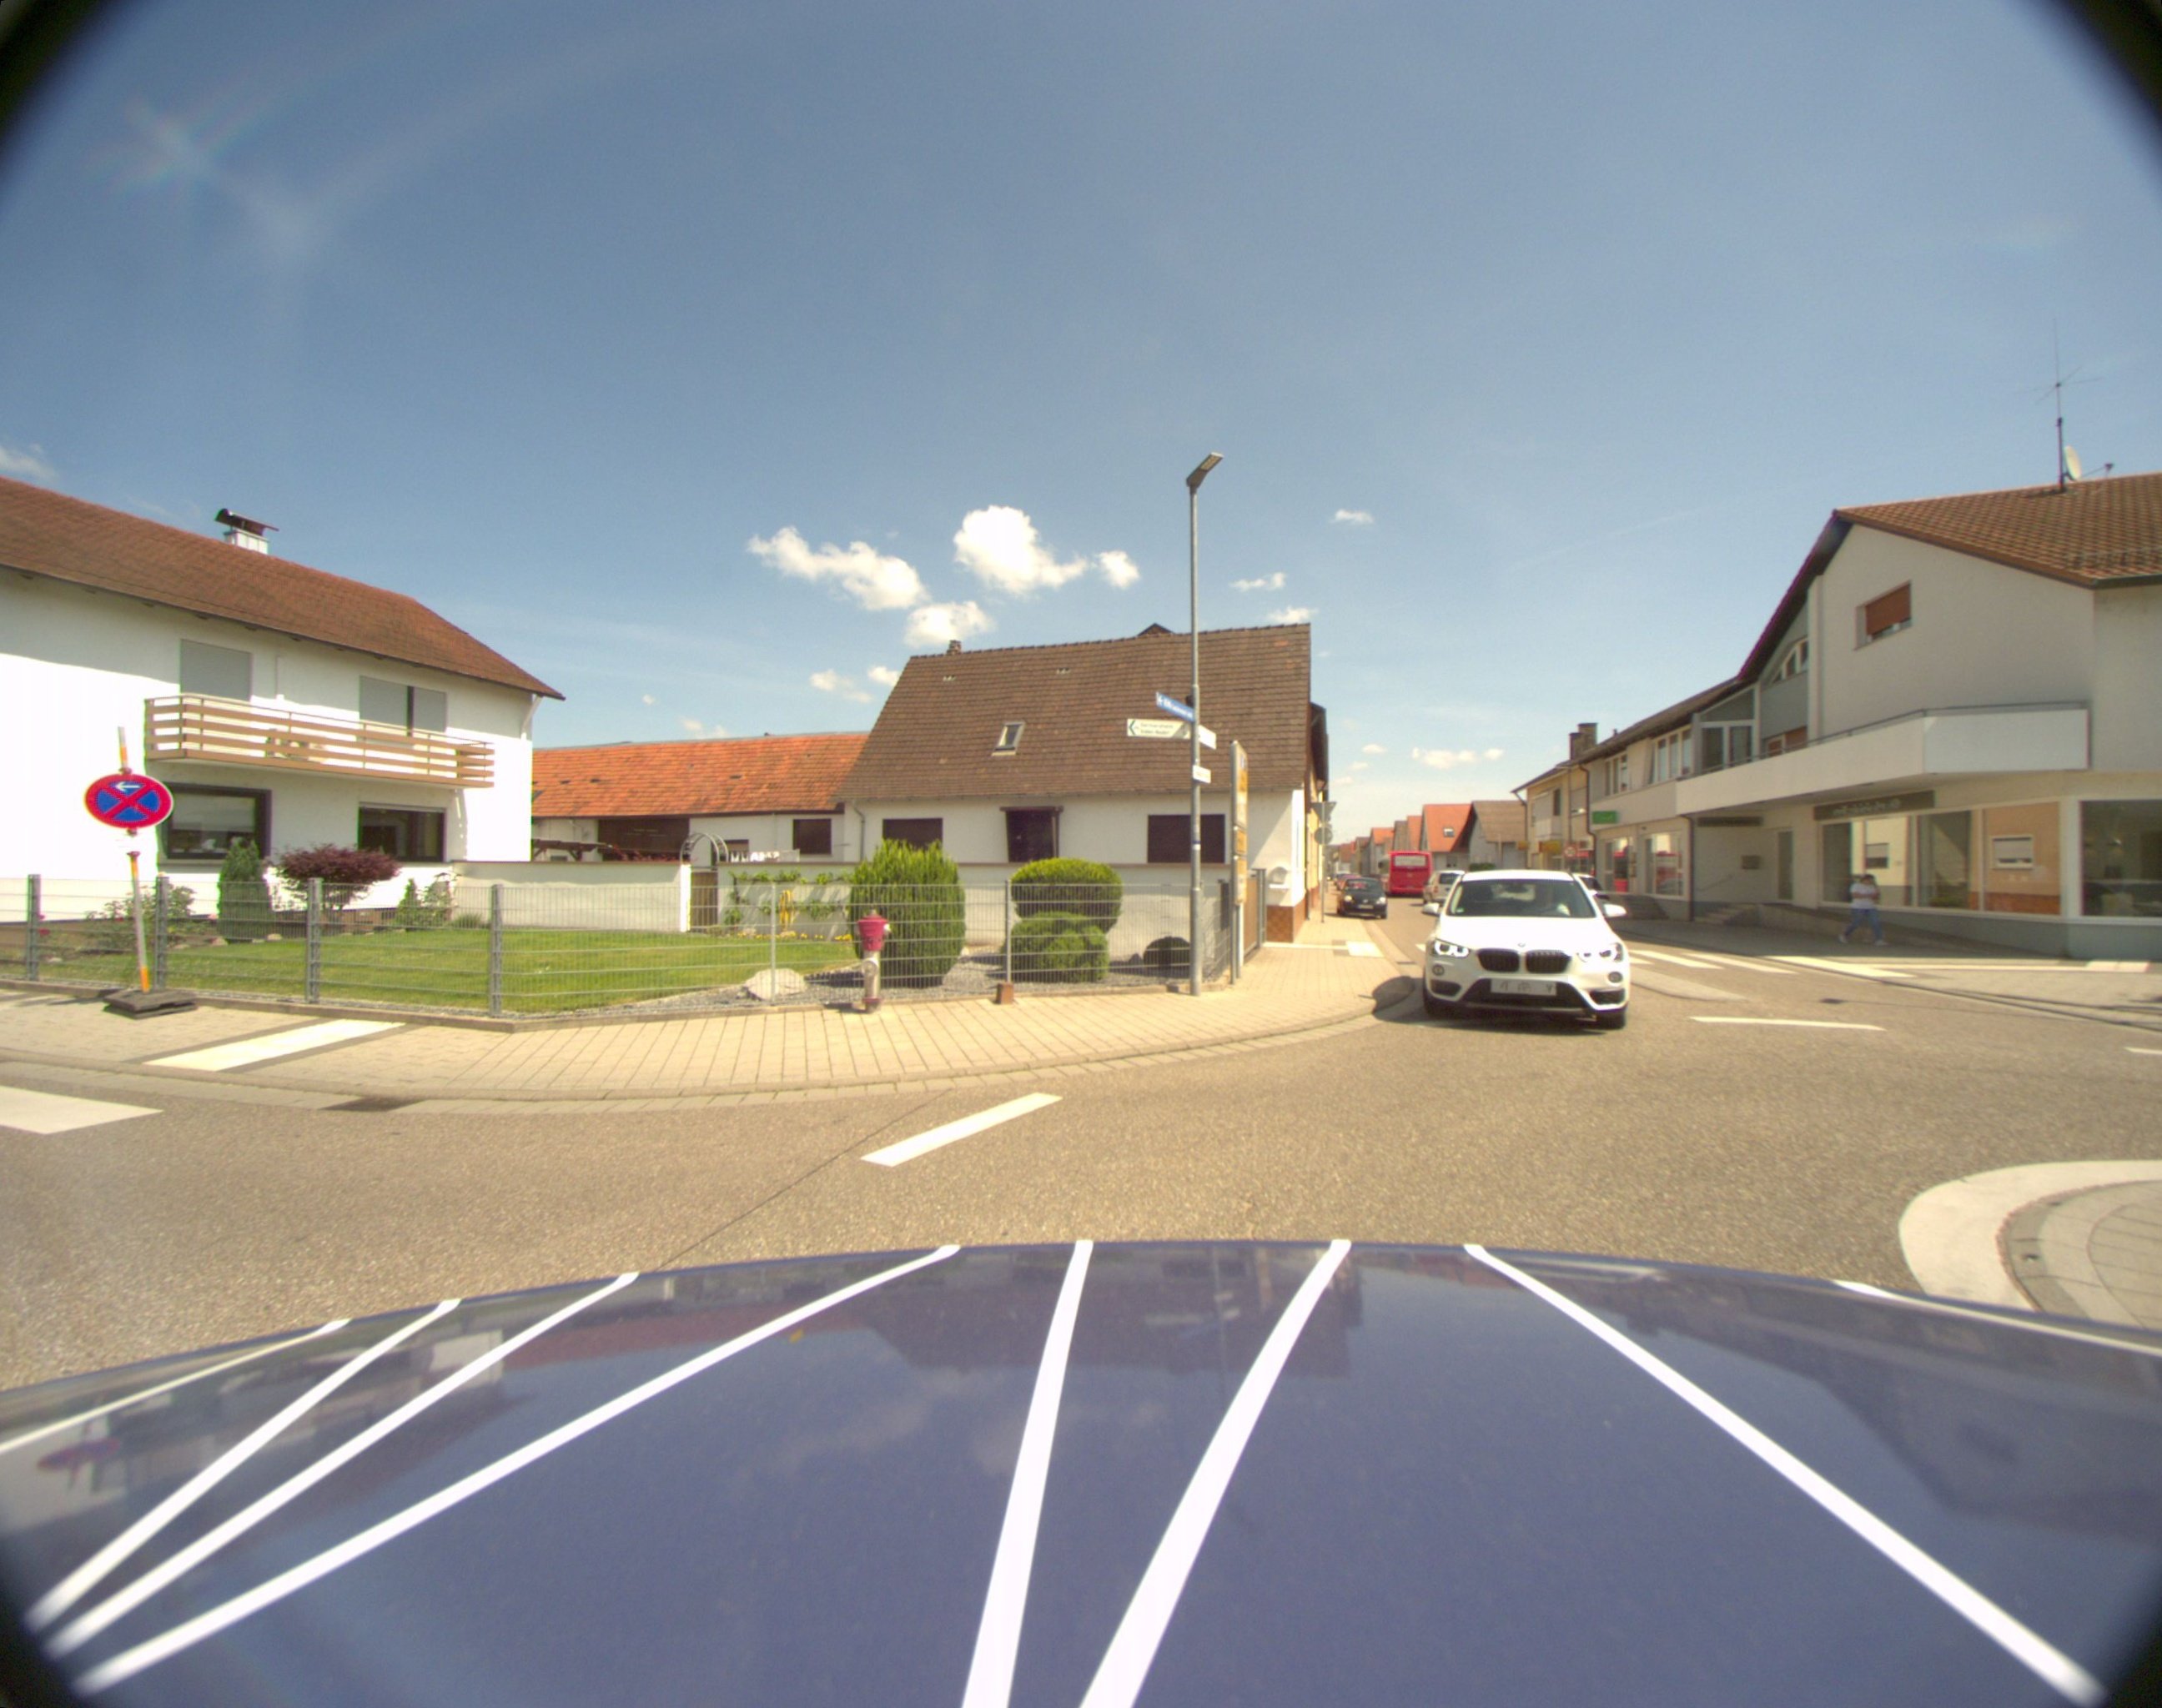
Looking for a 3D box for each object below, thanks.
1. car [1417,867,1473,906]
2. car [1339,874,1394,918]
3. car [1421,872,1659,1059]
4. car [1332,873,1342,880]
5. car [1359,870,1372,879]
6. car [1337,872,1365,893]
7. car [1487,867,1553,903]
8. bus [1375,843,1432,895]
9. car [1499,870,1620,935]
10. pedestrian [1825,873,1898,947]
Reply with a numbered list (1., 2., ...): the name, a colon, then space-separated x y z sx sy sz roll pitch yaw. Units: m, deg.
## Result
1. car: 18.440 1.578 38.648 1.774 1.810 4.448 1 -1 16
2. car: 10.419 1.482 27.938 1.687 1.454 3.635 2 -1 18
3. car: 5.102 1.055 9.024 1.842 1.635 4.383 -2 -2 25
4. car: 51.822 4.500 153.966 1.762 1.419 3.858 0 -1 15
5. car: 49.396 3.531 132.113 1.762 1.419 3.858 0 -1 15
6. car: 18.966 1.969 53.431 1.762 1.419 4.196 0 -1 18
7. car: 20.788 1.413 36.123 1.746 1.506 4.006 -4 -2 17
8. bus: 22.799 1.060 54.275 2.629 3.213 12.041 2 0 18
9. car: 13.945 1.322 22.441 1.868 1.699 4.549 0 -1 17
10. pedestrian: 17.343 1.235 16.910 0.756 1.574 0.958 -2 -1 20
